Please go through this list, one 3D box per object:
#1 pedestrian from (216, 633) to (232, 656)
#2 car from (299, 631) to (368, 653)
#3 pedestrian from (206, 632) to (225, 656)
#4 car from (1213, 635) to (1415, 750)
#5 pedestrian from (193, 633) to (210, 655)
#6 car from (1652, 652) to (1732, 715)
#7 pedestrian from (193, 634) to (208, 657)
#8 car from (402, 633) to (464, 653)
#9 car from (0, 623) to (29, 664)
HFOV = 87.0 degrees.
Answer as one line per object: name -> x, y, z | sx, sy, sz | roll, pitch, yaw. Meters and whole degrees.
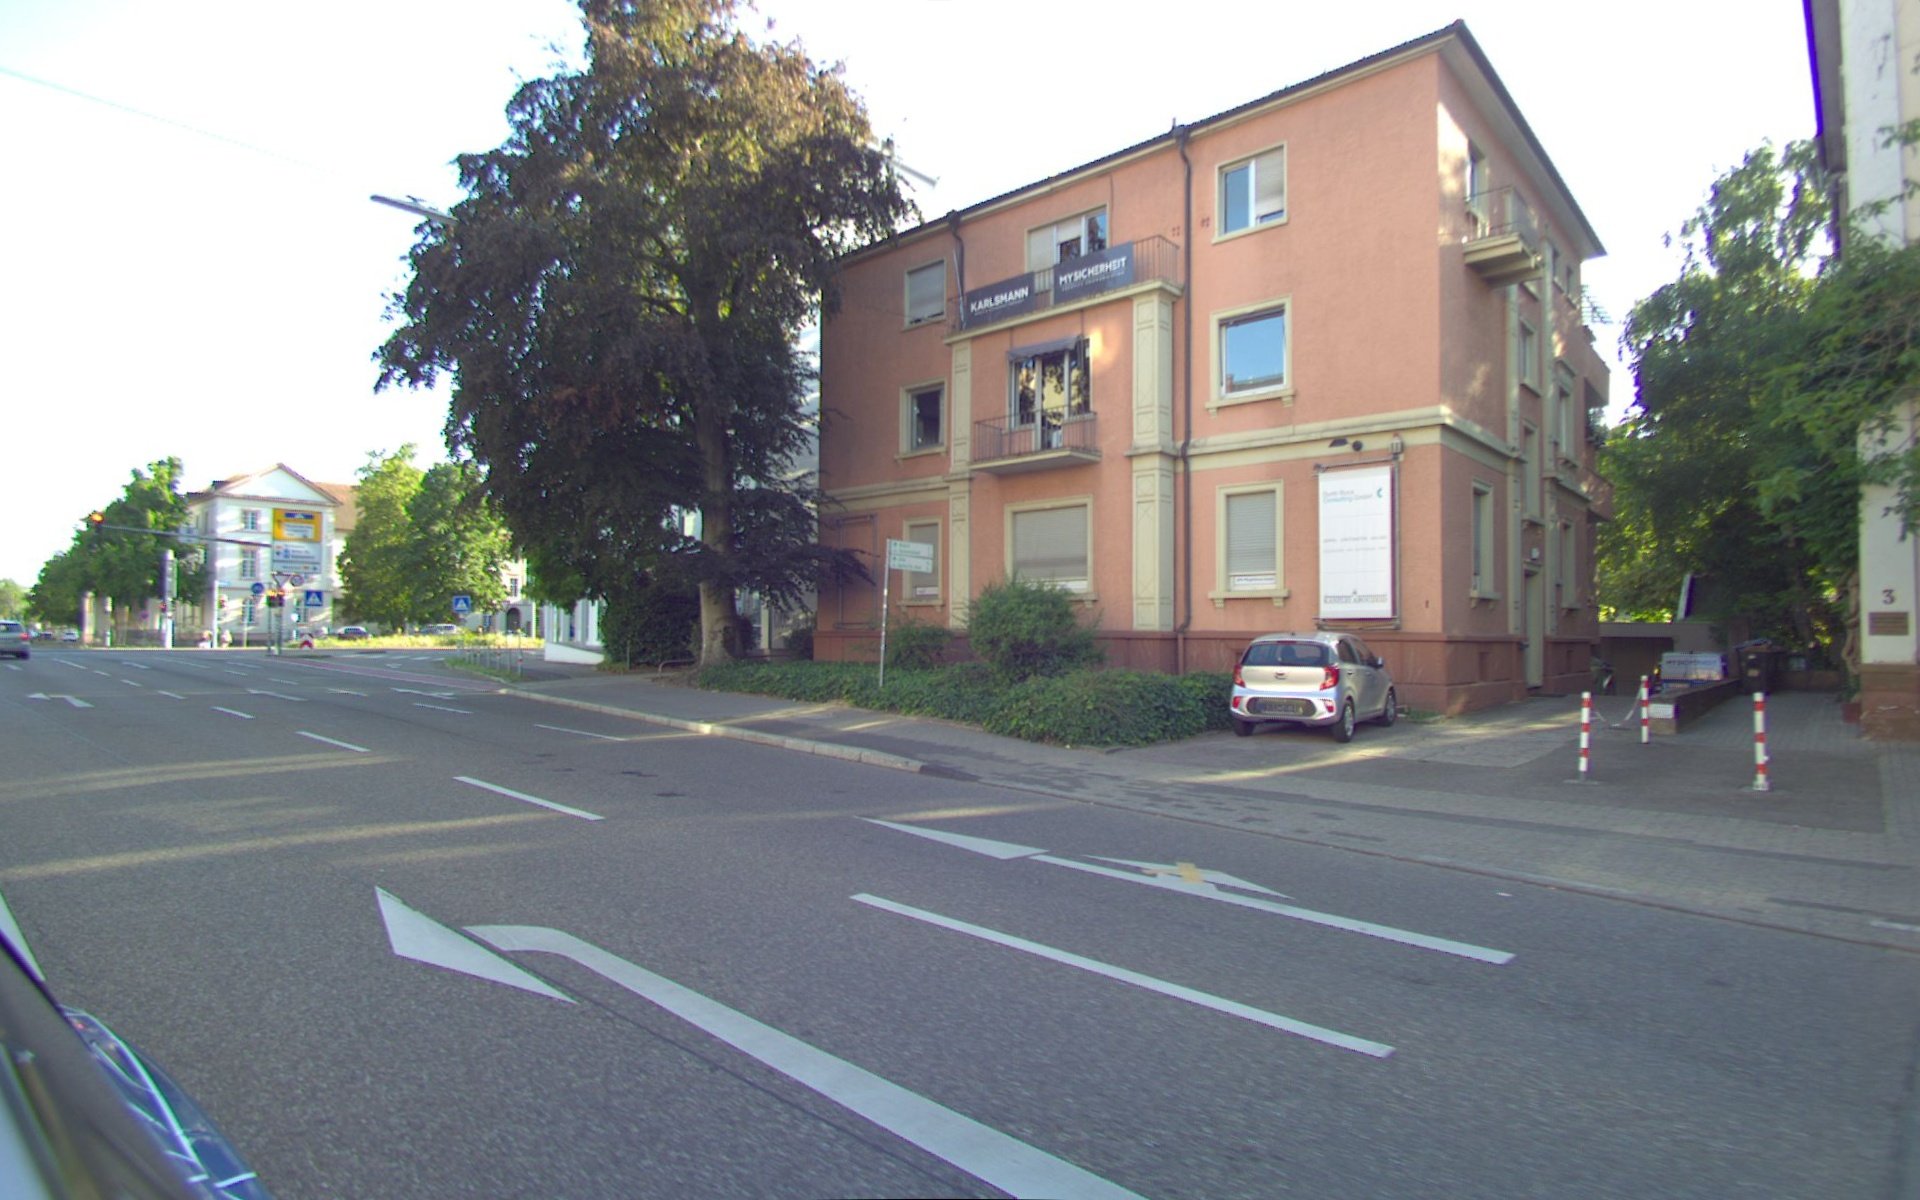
pedestrian -> -54.661, 3.319, 75.121 | 0.880, 1.663, 0.671 | -2, -3, 33
car -> -43.553, 2.932, 70.430 | 1.997, 1.457, 3.601 | -2, -3, 37
pedestrian -> -57.850, 3.390, 78.591 | 1.166, 1.863, 0.811 | -2, -3, 33
car -> 5.357, 1.277, 15.093 | 1.813, 1.497, 3.463 | -2, -3, 38
pedestrian -> -58.293, 3.375, 77.769 | 1.081, 1.721, 0.671 | -2, -3, 33
car -> 22.434, 2.481, 30.954 | 1.813, 1.776, 3.938 | -2, -3, 38
pedestrian -> -55.579, 3.309, 74.050 | 0.887, 1.663, 0.614 | -2, -3, 33
car -> -39.662, 3.256, 76.233 | 1.997, 1.457, 3.601 | -2, -3, 37
car -> -37.005, 1.665, 38.694 | 4.606, 1.526, 1.807 | -2, -3, 45
